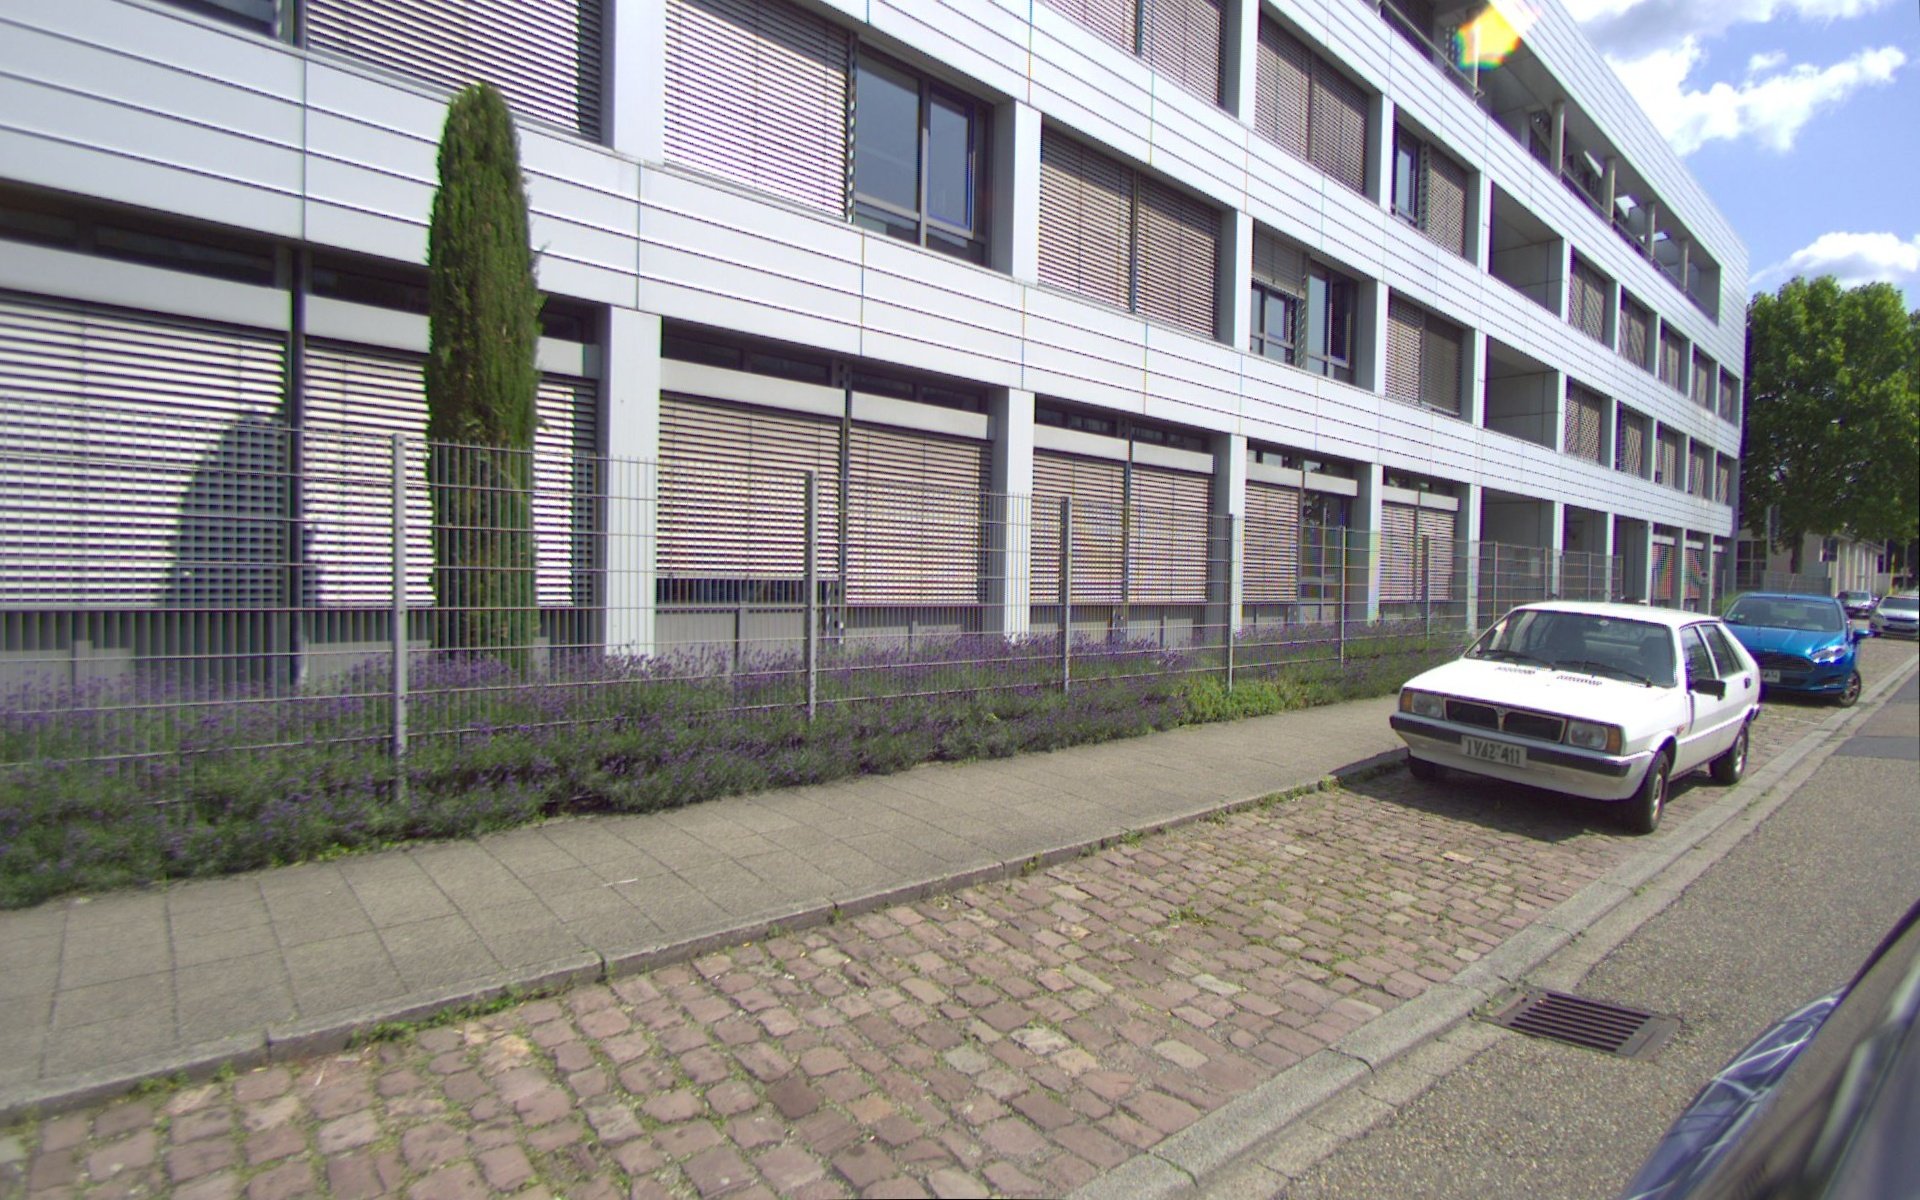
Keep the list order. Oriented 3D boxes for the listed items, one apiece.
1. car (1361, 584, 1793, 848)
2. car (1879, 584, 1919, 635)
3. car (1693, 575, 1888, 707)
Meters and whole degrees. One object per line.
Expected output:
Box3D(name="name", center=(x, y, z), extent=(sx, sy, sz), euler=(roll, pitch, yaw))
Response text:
Box3D(name="car", center=(4.921, 0.644, 7.829), extent=(4.088, 1.384, 1.676), euler=(-1, 6, -42))
Box3D(name="car", center=(31.473, 0.301, 33.180), extent=(3.681, 1.533, 1.658), euler=(-1, 5, -44))
Box3D(name="car", center=(12.186, 0.482, 14.757), extent=(1.810, 1.522, 3.937), euler=(7, 6, 43))
